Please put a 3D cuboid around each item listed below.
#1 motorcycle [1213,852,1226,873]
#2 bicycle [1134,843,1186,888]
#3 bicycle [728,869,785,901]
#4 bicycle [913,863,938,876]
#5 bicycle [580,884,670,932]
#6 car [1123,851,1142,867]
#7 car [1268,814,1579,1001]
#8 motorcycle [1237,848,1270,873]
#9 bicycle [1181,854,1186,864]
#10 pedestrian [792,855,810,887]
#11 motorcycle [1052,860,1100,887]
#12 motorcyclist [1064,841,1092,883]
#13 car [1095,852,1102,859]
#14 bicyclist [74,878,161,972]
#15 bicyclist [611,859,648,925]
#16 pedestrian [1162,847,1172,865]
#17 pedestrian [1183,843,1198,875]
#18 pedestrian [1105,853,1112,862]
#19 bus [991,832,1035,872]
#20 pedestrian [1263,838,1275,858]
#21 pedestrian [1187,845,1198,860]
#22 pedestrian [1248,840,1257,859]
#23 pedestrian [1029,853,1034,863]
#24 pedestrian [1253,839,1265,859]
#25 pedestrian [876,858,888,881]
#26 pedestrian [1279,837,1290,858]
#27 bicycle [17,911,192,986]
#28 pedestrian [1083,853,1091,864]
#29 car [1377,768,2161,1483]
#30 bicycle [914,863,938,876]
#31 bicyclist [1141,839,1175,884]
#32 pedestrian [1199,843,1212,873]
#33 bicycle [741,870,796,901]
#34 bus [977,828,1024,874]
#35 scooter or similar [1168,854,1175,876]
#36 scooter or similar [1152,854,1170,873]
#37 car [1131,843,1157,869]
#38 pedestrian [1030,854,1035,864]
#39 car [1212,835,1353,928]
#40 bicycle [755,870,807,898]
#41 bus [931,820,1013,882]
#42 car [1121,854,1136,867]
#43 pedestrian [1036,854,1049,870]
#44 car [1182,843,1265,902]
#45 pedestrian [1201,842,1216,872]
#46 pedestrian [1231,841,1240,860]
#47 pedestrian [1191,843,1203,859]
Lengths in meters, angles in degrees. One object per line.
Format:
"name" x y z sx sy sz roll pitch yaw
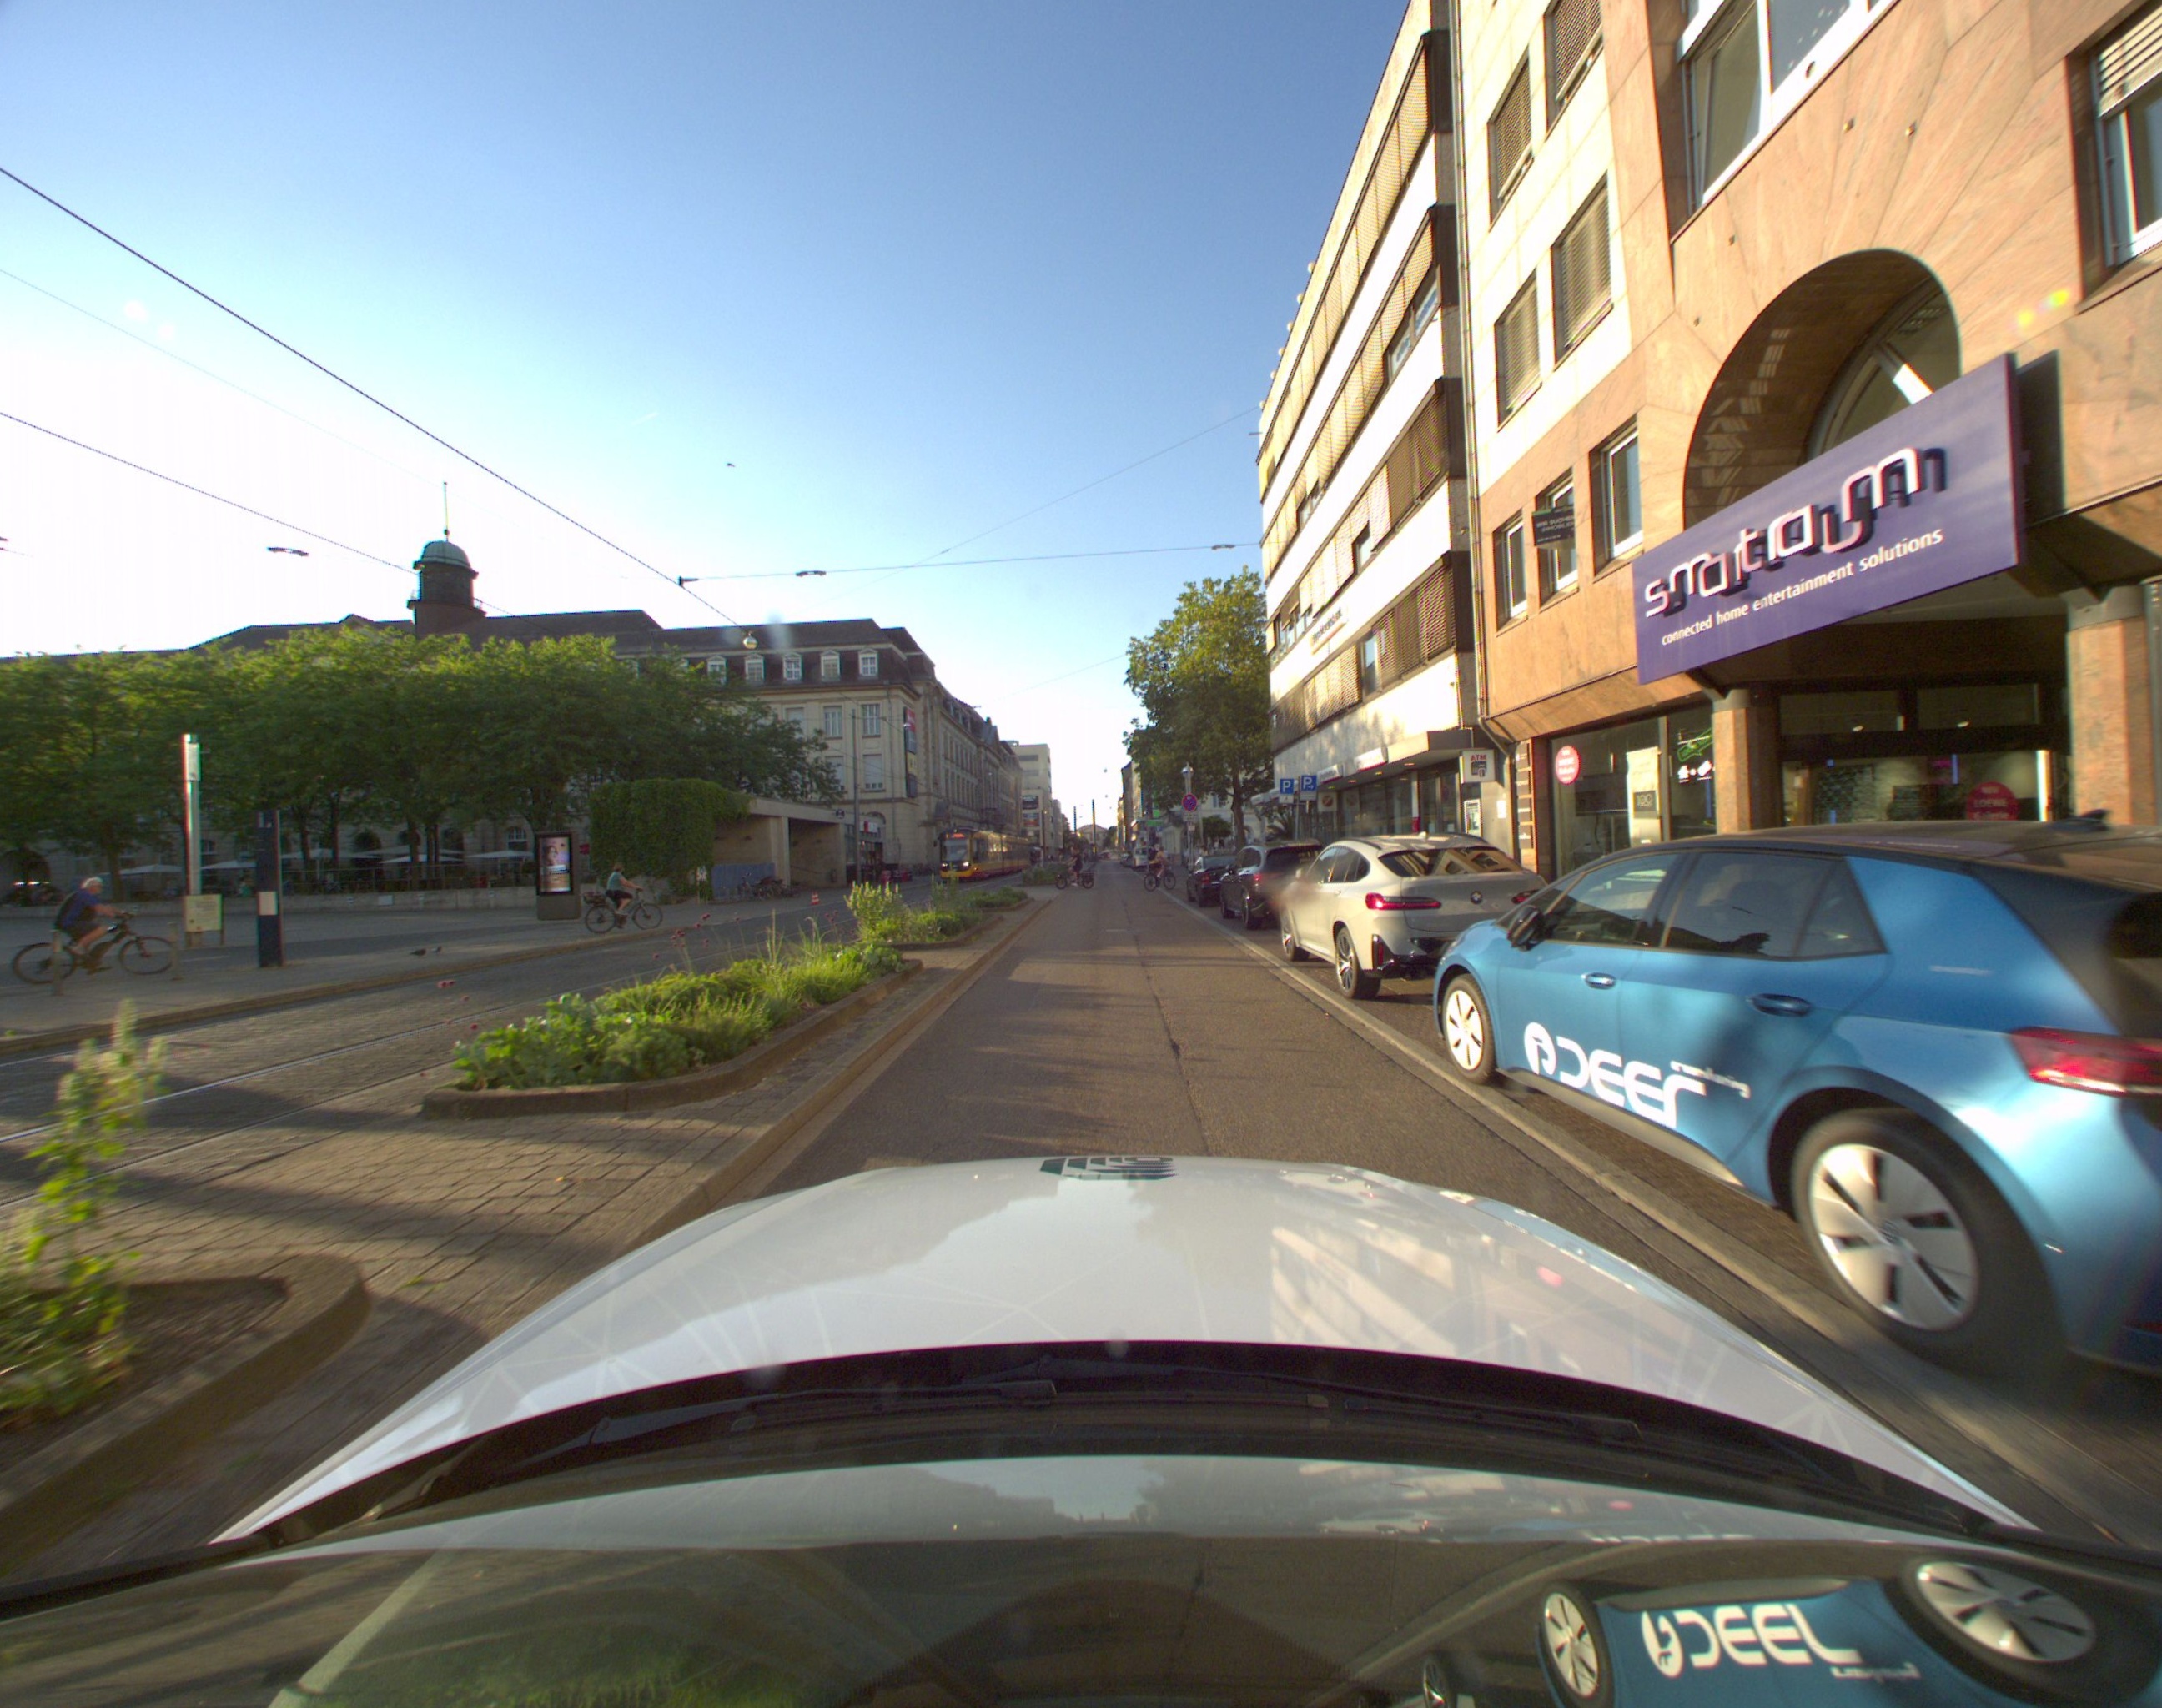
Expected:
"motorcycle" 7.992 0.482 47.130 0.453 1.157 2.032 -2 0 2
"bicycle" 3.220 0.448 33.049 2.381 1.740 0.596 -2 0 -42
"bicycle" -14.068 1.347 35.331 2.189 1.300 0.580 -3 -2 1
"bicycle" -14.115 1.416 73.867 2.092 1.148 0.574 -2 -2 -4
"bicycle" -11.760 1.367 21.036 1.946 1.112 0.455 -1 -2 -39
"car" 5.846 0.588 93.267 1.986 1.761 4.422 -3 -1 1
"car" 3.545 0.469 9.528 1.809 1.585 4.726 -2 0 3
"motorcycle" 10.119 0.361 47.856 0.567 1.423 2.278 -2 0 -24
"bicycle" 9.296 0.457 74.100 0.249 0.902 1.374 -3 -2 2
"pedestrian" -17.081 1.048 49.734 0.720 1.934 0.793 -3 -2 5
"motorcycle" -0.226 0.874 36.674 2.049 1.123 0.565 -2 -2 -18
"motorcyclist" -0.142 0.359 36.719 1.004 1.813 0.954 -2 -2 -17
"car" 4.952 0.333 228.260 1.754 1.827 3.571 -3 -2 1
"bicyclist" -17.429 1.270 14.756 0.805 1.611 0.732 -1 -2 -29
"bicyclist" -11.704 0.976 21.111 0.708 1.668 0.621 -1 -2 -38
"pedestrian" 8.513 0.194 80.798 0.785 1.751 0.893 -2 -2 -5
"pedestrian" 6.382 0.270 47.553 0.711 1.803 0.825 -3 -1 4
"pedestrian" 6.276 0.833 183.502 1.231 1.928 1.017 -2 0 -14
"bus" -6.557 -0.081 80.855 2.811 3.612 11.827 -3 -1 2
"pedestrian" 12.467 -0.378 53.891 0.639 1.285 0.744 -3 -2 18
"pedestrian" 9.914 -0.115 72.654 0.820 1.306 0.870 -3 -2 1
"pedestrian" 11.829 -0.294 56.181 0.470 1.285 0.542 -3 -2 18
"pedestrian" -8.055 0.717 132.622 0.773 1.580 0.676 -2 0 -10
"pedestrian" 11.854 -0.339 54.148 0.639 1.285 0.744 -3 -2 18
"pedestrian" -14.051 1.081 57.489 0.717 1.646 0.655 -1 0 -20
"pedestrian" 13.496 -0.423 53.971 0.639 1.285 0.744 -3 -2 18
"bicycle" -17.512 1.664 14.664 1.934 1.112 0.456 -3 -1 -30
"pedestrian" 0.904 0.741 132.213 1.041 1.686 0.911 -3 -2 13
"car" 3.261 0.555 4.108 1.803 1.552 4.837 -2 0 1
"bicycle" -14.158 1.436 74.535 2.073 1.148 0.574 -2 -2 -4
"bicyclist" 3.126 0.308 33.007 0.937 1.776 0.959 -2 0 -42
"pedestrian" 7.241 0.233 47.398 0.611 1.717 0.662 -3 -2 3
"bicycle" -14.142 1.423 36.859 2.233 1.255 0.580 -3 -2 1
"bus" -6.920 -0.228 70.807 2.811 3.624 8.293 -3 0 2
"scooter or similar" 5.314 0.645 47.850 0.313 1.221 1.275 -2 0 9
"scooter or similar" 5.457 0.629 55.293 1.120 1.216 0.300 -4 -1 2
"car" 5.241 0.180 68.420 1.908 1.981 4.422 -3 0 2
"pedestrian" -7.921 0.757 133.554 0.777 1.580 0.676 -2 0 -10
"car" 3.900 0.427 16.539 1.769 1.538 4.580 -3 1 1
"bicycle" -14.188 1.425 38.533 2.233 1.232 0.585 -3 -1 1
"bus" -7.378 -0.191 58.148 2.811 3.651 17.080 -3 0 2
"car" 6.904 0.985 119.412 1.986 1.667 4.422 -3 -2 1
"pedestrian" -3.810 0.769 79.998 0.710 1.514 1.043 -4 -3 45
"car" 3.998 0.489 23.546 1.649 1.380 4.343 -6 0 2
"pedestrian" 7.301 0.173 46.691 0.675 1.717 0.655 -3 -2 4
"pedestrian" 10.895 -0.262 57.429 0.470 1.330 0.542 -3 -2 16
"pedestrian" 9.856 -0.234 69.248 0.899 1.314 0.967 -3 -2 1
